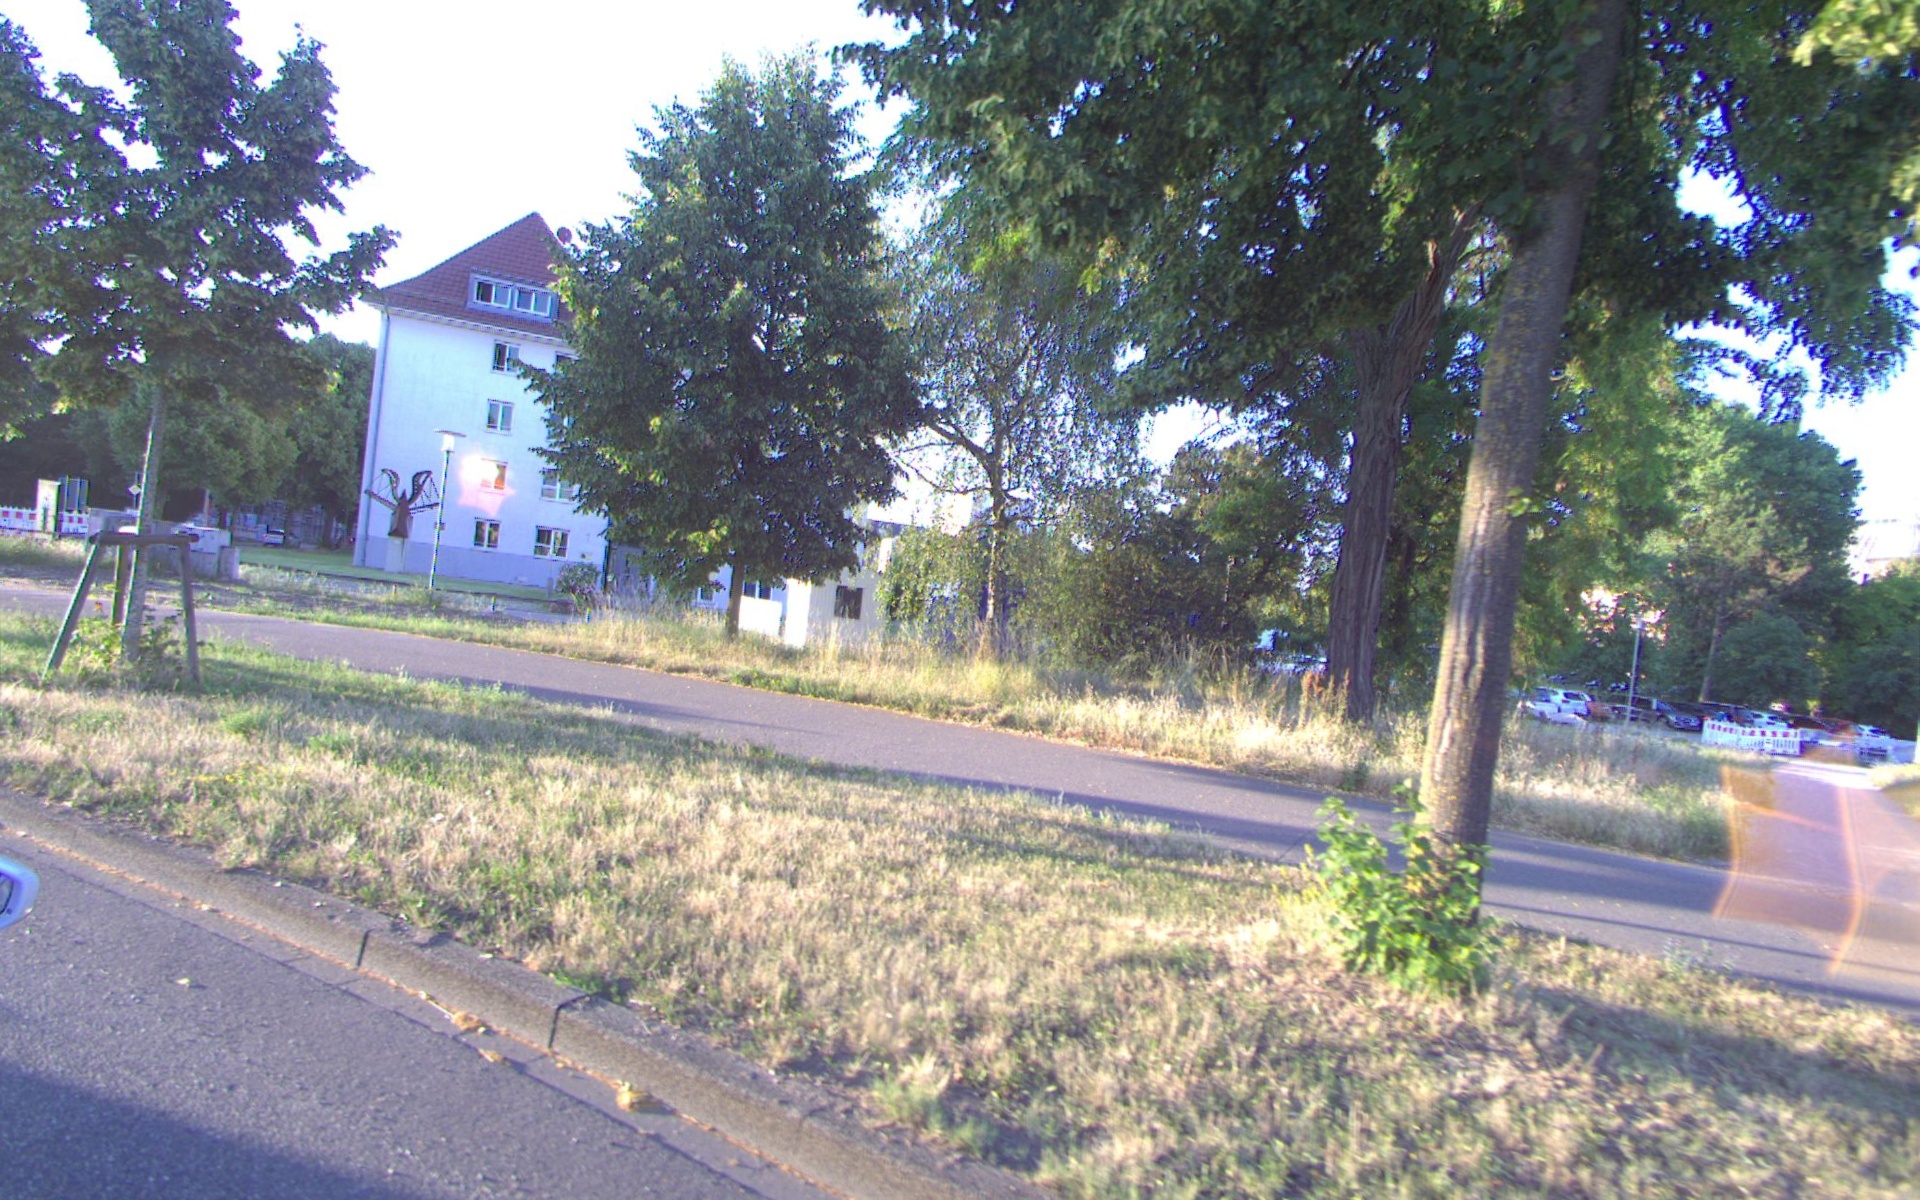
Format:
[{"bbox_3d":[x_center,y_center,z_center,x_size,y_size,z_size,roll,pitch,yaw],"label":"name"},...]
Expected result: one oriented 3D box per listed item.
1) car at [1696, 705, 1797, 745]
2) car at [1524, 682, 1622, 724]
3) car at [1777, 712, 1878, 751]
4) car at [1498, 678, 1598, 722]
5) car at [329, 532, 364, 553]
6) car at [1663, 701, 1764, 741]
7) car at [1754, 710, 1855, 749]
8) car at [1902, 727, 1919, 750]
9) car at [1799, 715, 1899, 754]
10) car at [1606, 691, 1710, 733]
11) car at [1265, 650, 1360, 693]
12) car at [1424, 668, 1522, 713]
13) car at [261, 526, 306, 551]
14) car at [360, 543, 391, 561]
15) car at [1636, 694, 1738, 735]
[{"bbox_3d":[44.478,7.056,56.967,1.878,1.572,3.979,7,-1,-23],"label":"car"},{"bbox_3d":[32.399,5.410,53.261,1.878,1.572,3.979,7,-1,-23],"label":"car"},{"bbox_3d":[50.937,7.689,59.171,1.878,1.572,3.979,7,-1,-23],"label":"car"},{"bbox_3d":[30.384,5.151,52.126,1.927,1.682,3.979,7,-1,-23],"label":"car"},{"bbox_3d":[-60.302,-5.630,98.954,1.929,1.621,4.063,8,-1,-18],"label":"car"},{"bbox_3d":[41.770,6.684,55.844,1.878,1.572,3.979,7,-1,-23],"label":"car"},{"bbox_3d":[48.750,7.453,58.174,1.878,1.572,3.979,7,-1,-23],"label":"car"},{"bbox_3d":[63.477,9.176,64.745,1.777,1.370,3.656,7,-1,-26],"label":"car"},{"bbox_3d":[53.076,8.016,60.147,1.878,1.572,3.979,7,-1,-23],"label":"car"},{"bbox_3d":[37.330,5.976,53.926,1.878,1.572,4.077,7,-1,-23],"label":"car"},{"bbox_3d":[16.430,3.320,47.105,1.927,1.463,3.979,7,-1,-23],"label":"car"},{"bbox_3d":[25.800,4.540,50.747,1.927,1.682,3.979,7,-1,-23],"label":"car"},{"bbox_3d":[-54.243,-4.899,80.704,1.930,1.621,4.060,8,-1,-20],"label":"car"},{"bbox_3d":[-65.214,-5.349,112.325,1.929,1.621,4.063,8,-1,-18],"label":"car"},{"bbox_3d":[39.648,6.237,54.969,1.878,1.572,3.979,7,-1,-23],"label":"car"}]
